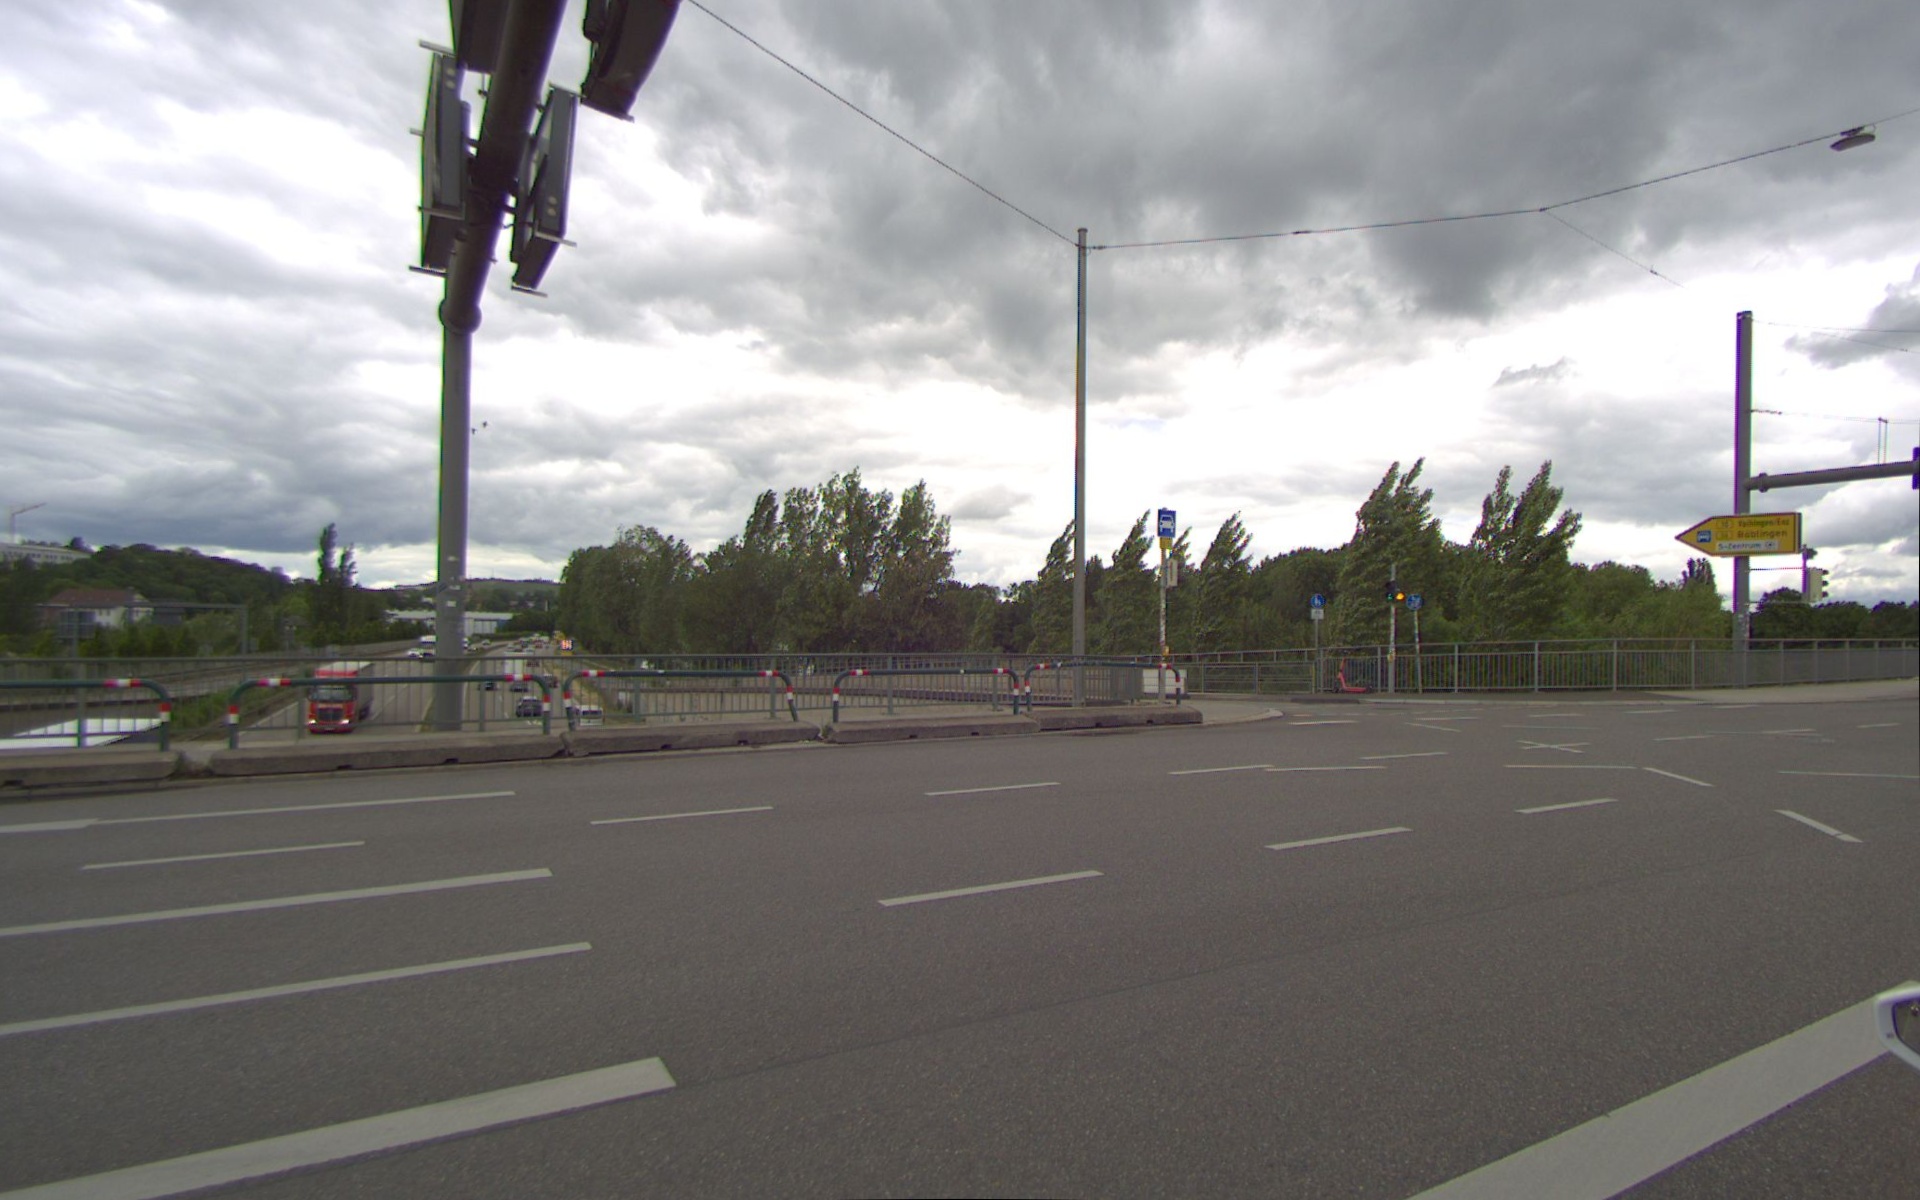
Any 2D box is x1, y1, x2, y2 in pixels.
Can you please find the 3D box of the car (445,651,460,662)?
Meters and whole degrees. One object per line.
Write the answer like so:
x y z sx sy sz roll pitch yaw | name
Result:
-85.689 9.596 169.595 1.887 1.739 3.620 4 -4 -24 | car

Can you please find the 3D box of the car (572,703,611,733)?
-26.653 8.480 72.577 2.111 1.739 4.396 3 -2 -26 | car

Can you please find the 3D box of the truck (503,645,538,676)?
-54.731 7.525 125.052 3.548 3.501 8.188 4 -3 -25 | truck

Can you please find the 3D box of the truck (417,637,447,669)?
-89.225 8.900 170.054 3.332 5.019 13.859 1 -1 -23 | truck

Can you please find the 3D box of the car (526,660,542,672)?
-69.970 10.783 165.105 2.111 1.739 4.396 3 -2 -26 | car

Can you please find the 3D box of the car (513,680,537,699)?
-47.070 9.642 108.559 2.111 1.739 4.396 3 -2 -26 | car

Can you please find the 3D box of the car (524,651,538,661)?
-87.318 11.382 204.401 2.563 2.040 4.614 3 -3 -24 | car

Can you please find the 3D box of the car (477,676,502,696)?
-51.026 9.333 108.988 2.305 1.740 4.705 0 -1 -24 | car

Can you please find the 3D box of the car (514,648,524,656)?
-102.917 12.053 234.381 1.973 1.739 3.620 4 -4 -24 | car

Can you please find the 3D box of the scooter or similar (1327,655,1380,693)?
11.204 2.098 28.622 0.480 1.070 1.322 1 -4 -37 | scooter or similar

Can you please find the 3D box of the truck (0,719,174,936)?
-25.192 5.871 27.921 2.865 4.238 9.962 4 -3 -25 | truck

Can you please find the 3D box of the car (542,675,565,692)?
-47.410 9.715 117.034 2.111 1.586 4.396 3 -2 -26 | car

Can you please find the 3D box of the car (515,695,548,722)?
-33.703 8.483 78.943 2.111 1.739 4.396 3 -2 -26 | car

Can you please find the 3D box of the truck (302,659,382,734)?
-43.668 6.625 71.421 2.851 4.413 13.182 2 -2 -24 | truck
